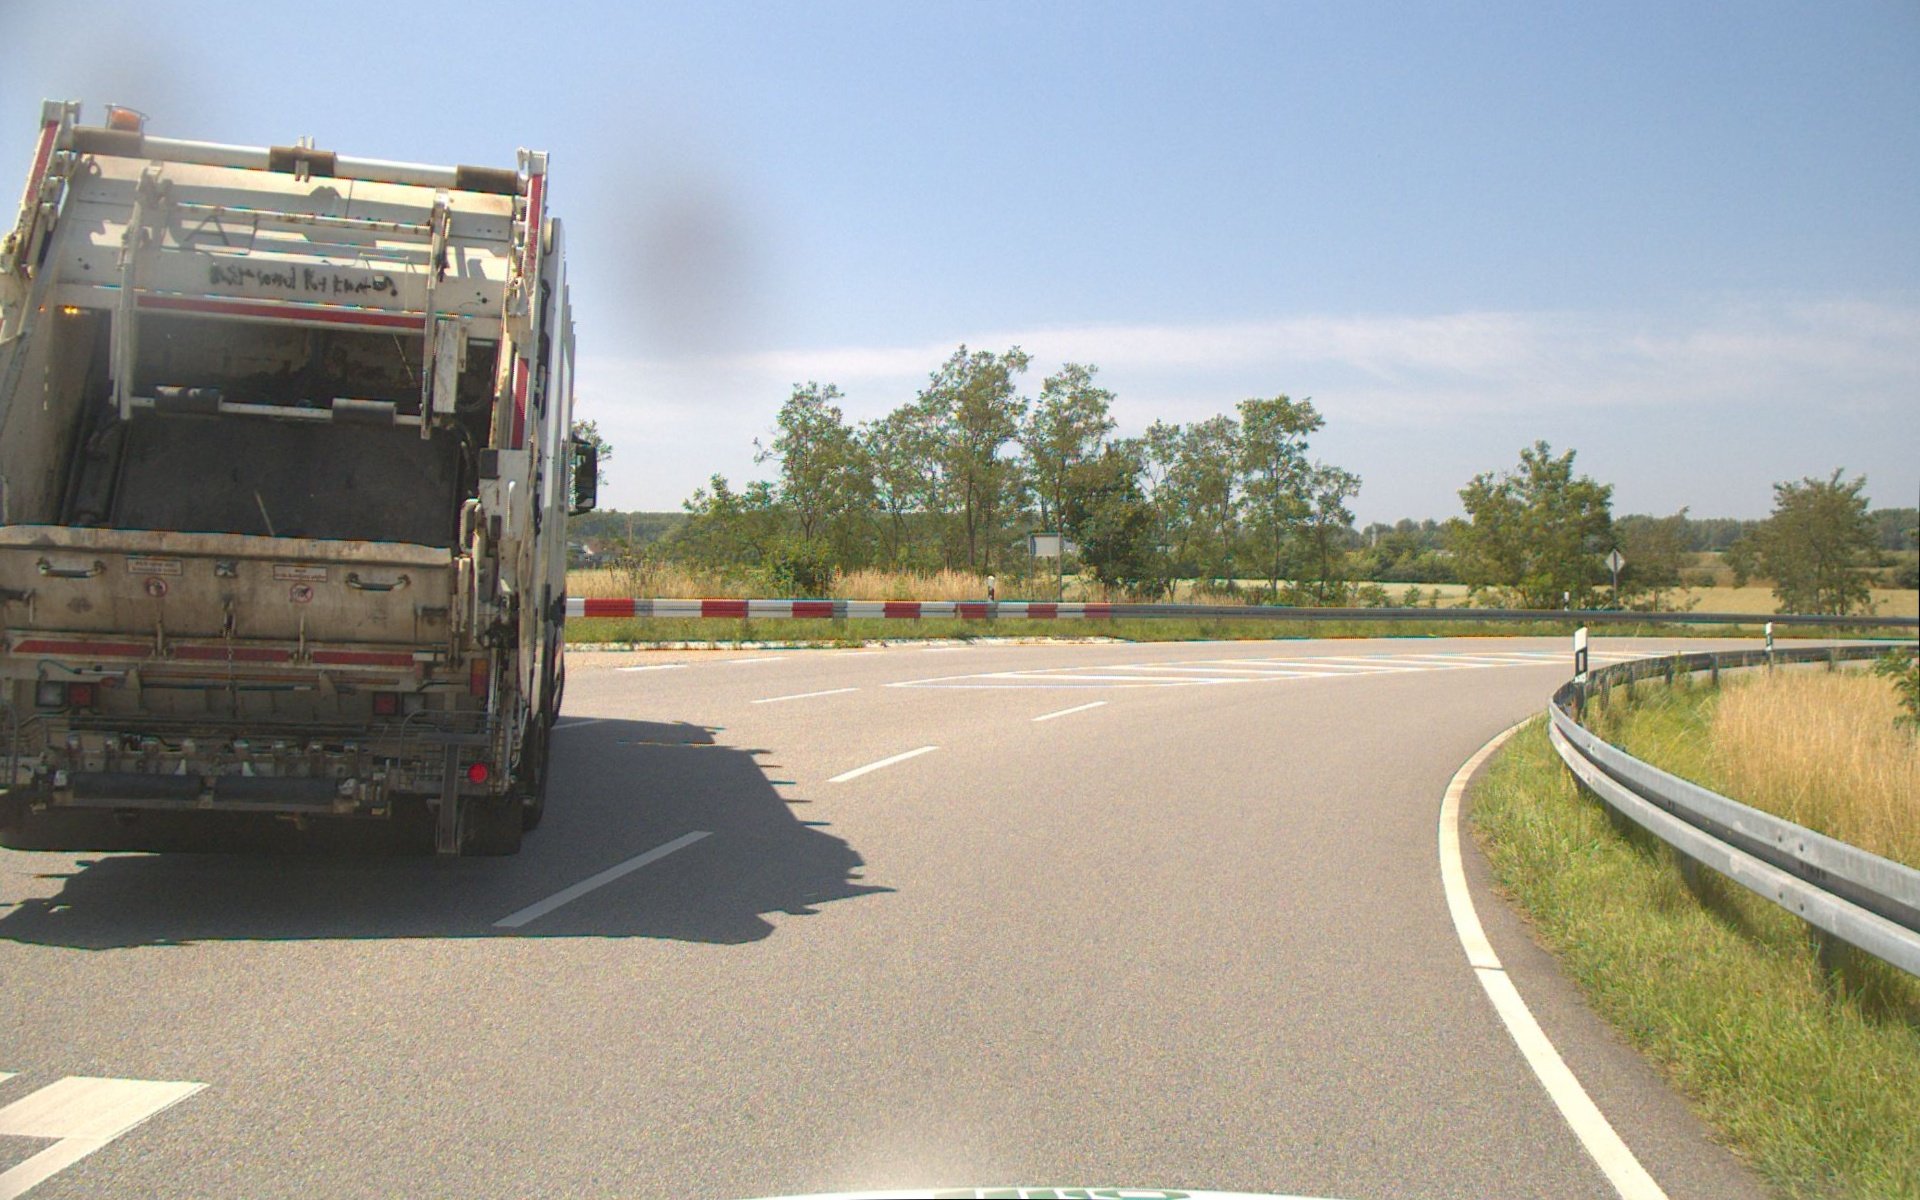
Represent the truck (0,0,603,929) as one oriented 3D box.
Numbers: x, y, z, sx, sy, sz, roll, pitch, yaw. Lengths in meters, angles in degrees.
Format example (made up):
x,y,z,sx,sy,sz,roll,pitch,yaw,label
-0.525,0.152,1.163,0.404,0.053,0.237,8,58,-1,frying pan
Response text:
x,y,z,sx,sy,sz,roll,pitch,yaw,label
-4.023,-0.699,11.435,2.763,3.732,9.921,2,1,-12,truck
